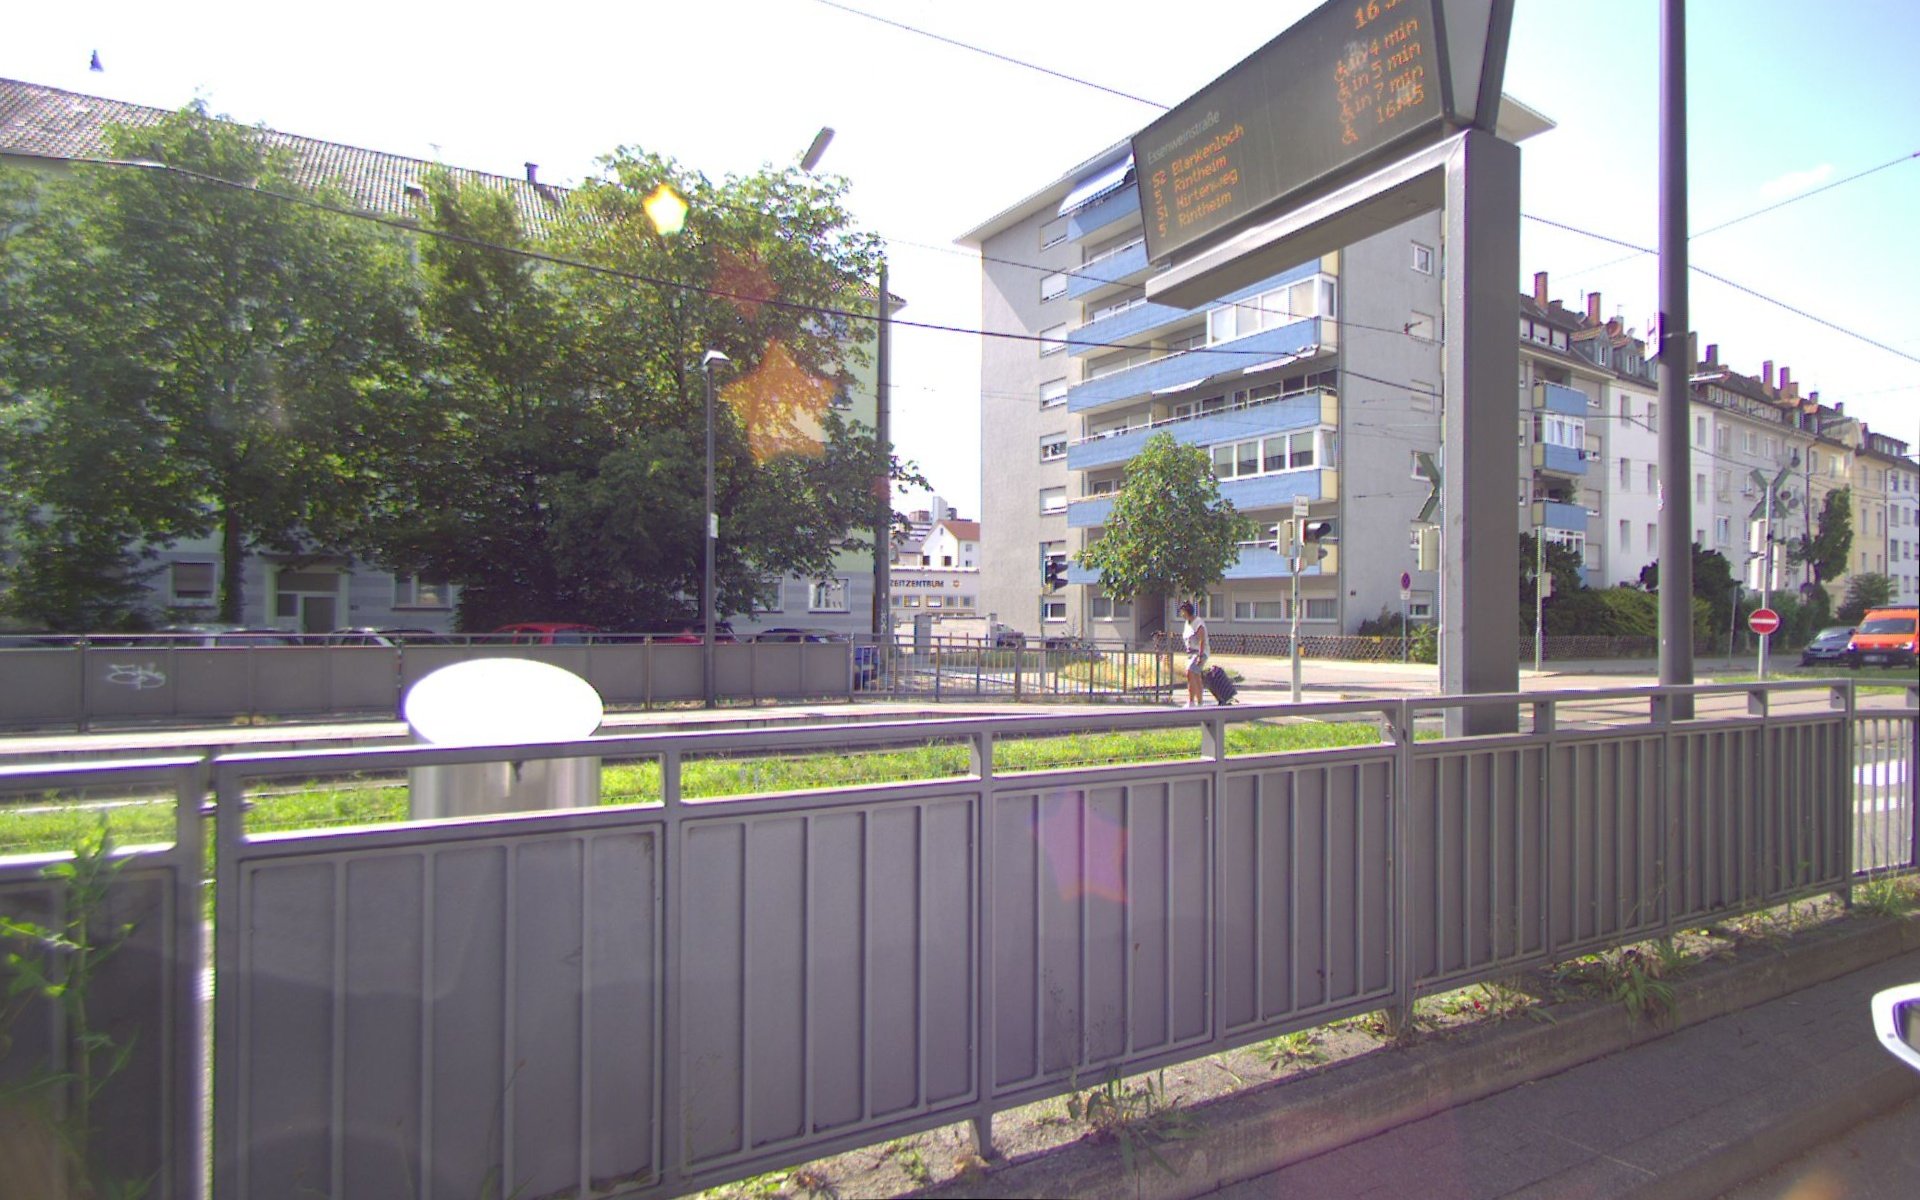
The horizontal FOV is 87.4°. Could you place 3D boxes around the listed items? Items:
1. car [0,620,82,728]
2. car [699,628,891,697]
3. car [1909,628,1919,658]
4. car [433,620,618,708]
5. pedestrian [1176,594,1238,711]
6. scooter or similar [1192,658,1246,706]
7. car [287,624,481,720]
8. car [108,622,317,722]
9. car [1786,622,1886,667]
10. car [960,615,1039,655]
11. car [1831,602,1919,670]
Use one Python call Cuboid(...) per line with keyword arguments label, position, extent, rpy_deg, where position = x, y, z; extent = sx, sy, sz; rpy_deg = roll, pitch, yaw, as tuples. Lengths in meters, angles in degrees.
Cuboid(label="car", position=(-15.787, 1.123, 16.058), extent=(3.603, 1.600, 1.645), rpy_deg=(0, -1, 32))
Cuboid(label="car", position=(-3.720, 1.353, 22.595), extent=(4.055, 1.413, 1.608), rpy_deg=(0, -1, 24))
Cuboid(label="car", position=(48.611, 2.149, 49.575), extent=(3.959, 1.461, 1.757), rpy_deg=(2, 0, -34))
Cuboid(label="car", position=(-8.711, 1.209, 20.094), extent=(3.603, 1.600, 1.645), rpy_deg=(0, -1, 32))
Cuboid(label="pedestrian", position=(3.677, 0.763, 14.952), extent=(0.624, 1.686, 0.657), rpy_deg=(1, -1, -29))
Cuboid(label="scooter or similar", position=(3.987, 1.252, 15.457), extent=(0.692, 0.708, 0.440), rpy_deg=(1, -1, -29))
Cuboid(label="car", position=(-10.783, 1.263, 18.765), extent=(3.603, 1.600, 1.645), rpy_deg=(0, -1, 32))
Cuboid(label="car", position=(-12.926, 1.161, 17.315), extent=(3.959, 1.534, 1.605), rpy_deg=(-1, -1, 33))
Cuboid(label="car", position=(35.496, 1.787, 40.685), extent=(3.956, 1.667, 1.982), rpy_deg=(2, 0, -32))
Cuboid(label="car", position=(1.845, 1.644, 48.347), extent=(1.976, 1.706, 3.968), rpy_deg=(1, 0, -30))
Cuboid(label="car", position=(33.601, 1.272, 36.188), extent=(4.778, 2.305, 1.983), rpy_deg=(1, -1, -31))
